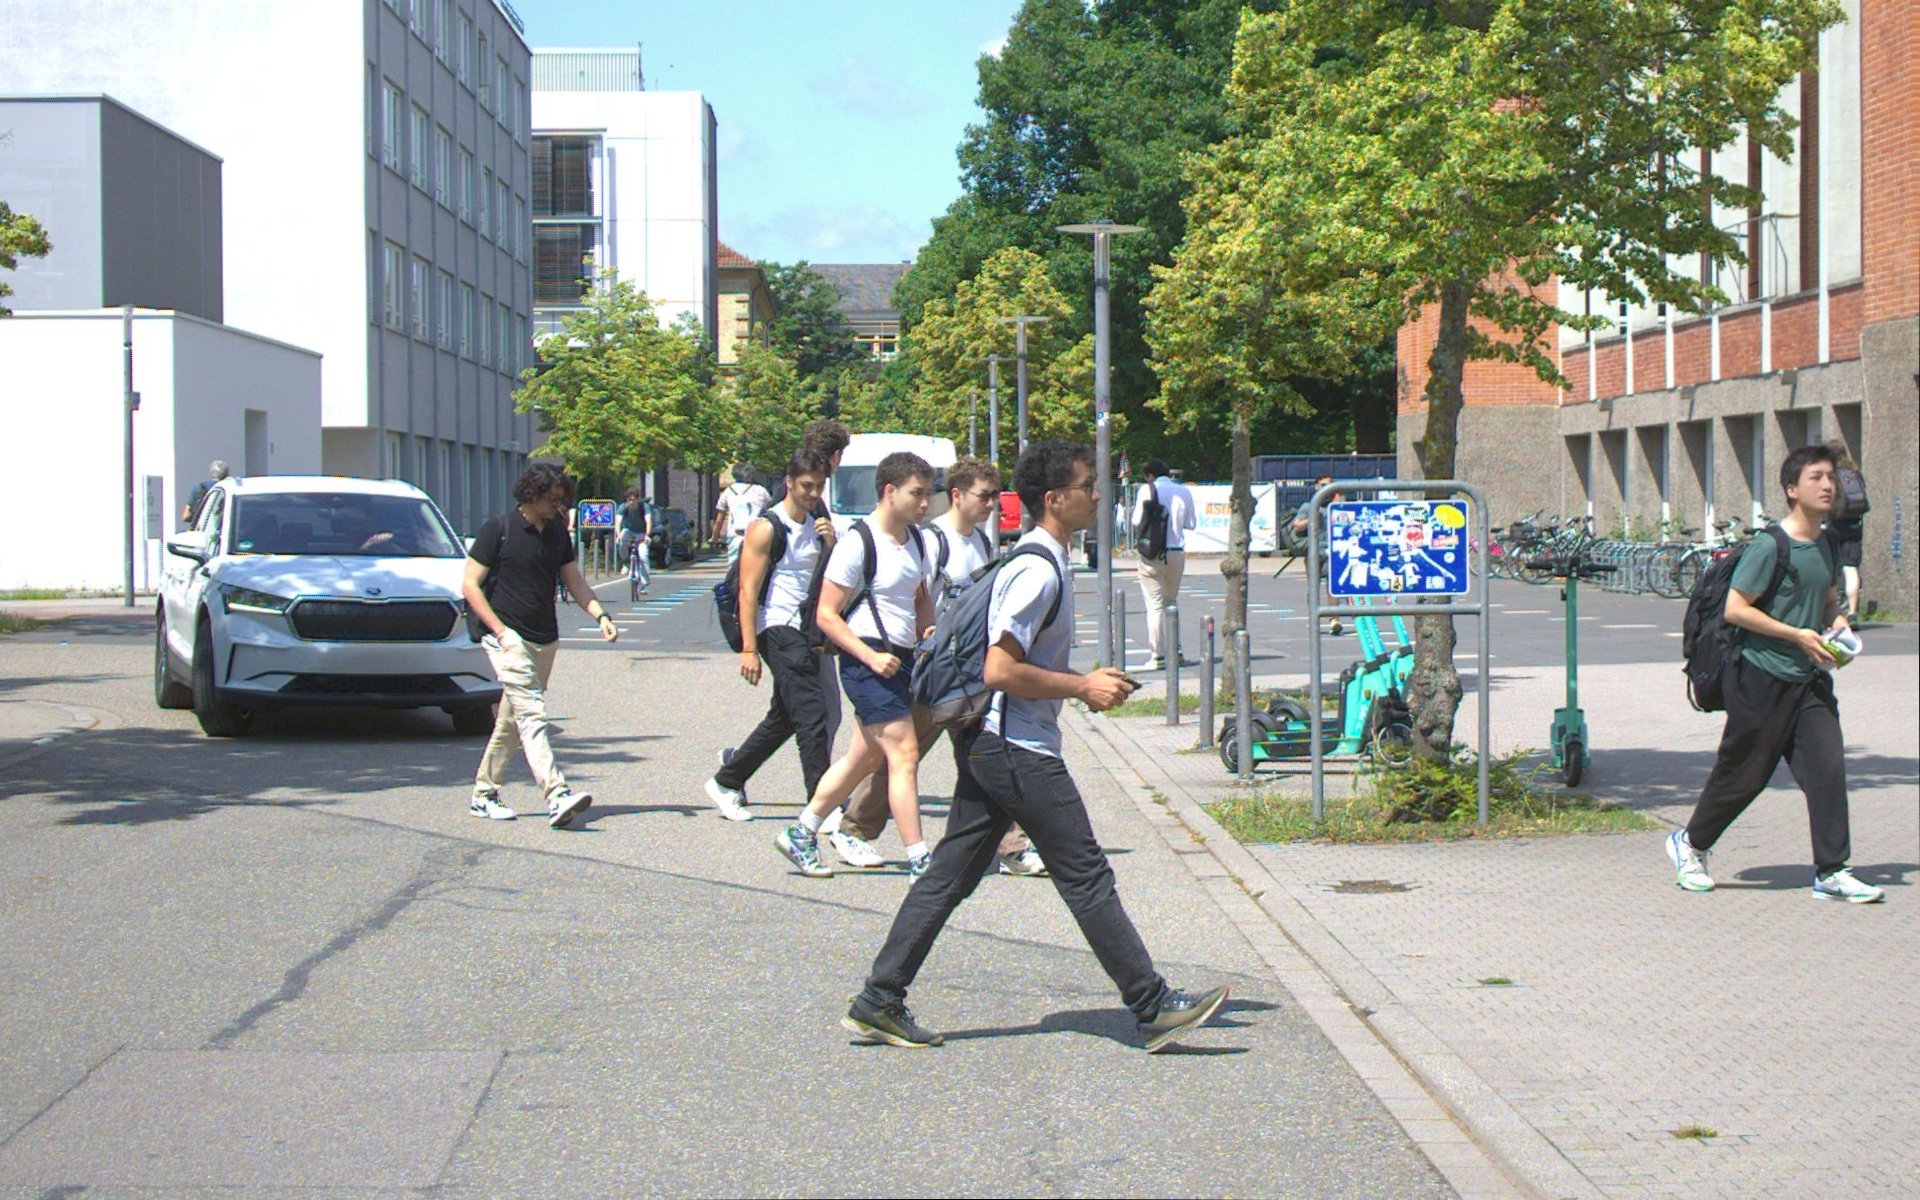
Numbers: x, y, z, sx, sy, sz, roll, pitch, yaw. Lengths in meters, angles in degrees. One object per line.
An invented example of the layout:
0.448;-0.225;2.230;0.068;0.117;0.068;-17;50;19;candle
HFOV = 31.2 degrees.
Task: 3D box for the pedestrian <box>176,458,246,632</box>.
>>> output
-7.790;-0.565;35.731;0.666;1.779;0.985;0;0;-14;pedestrian

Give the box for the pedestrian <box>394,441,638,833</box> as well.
-2.056;0.145;16.008;0.802;1.766;0.854;1;3;20;pedestrian

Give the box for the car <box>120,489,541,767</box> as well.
-4.266;0.125;22.696;1.917;1.613;4.522;2;1;-21;car

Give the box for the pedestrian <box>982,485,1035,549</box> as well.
1.588;-2.735;113.019;1.499;1.989;1.647;-4;3;-3;pedestrian

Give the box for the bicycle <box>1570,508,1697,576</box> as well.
10.369;-0.899;52.977;1.809;0.981;0.560;-2;2;-2;bicycle

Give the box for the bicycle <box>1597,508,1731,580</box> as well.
10.321;-0.818;50.430;1.809;0.981;0.560;-2;2;-2;bicycle

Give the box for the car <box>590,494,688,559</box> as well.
-7.786;-1.804;83.648;1.795;1.524;4.000;-1;2;3;car

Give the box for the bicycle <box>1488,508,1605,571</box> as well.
9.726;-1.006;57.037;1.809;0.981;0.560;-2;2;-2;bicycle

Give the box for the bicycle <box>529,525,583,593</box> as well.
-5.915;-0.609;50.371;0.677;0.961;2.003;0;2;-3;bicycle

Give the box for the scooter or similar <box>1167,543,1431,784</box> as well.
1.848;0.333;18.765;1.262;1.260;0.650;0;2;31;scooter or similar

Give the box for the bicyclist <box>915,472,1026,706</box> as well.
0.088;-0.091;25.193;0.717;1.656;1.095;-2;1;2;bicyclist

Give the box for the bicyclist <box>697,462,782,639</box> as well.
-2.234;-0.510;34.803;0.770;1.750;0.849;-1;2;-8;bicyclist

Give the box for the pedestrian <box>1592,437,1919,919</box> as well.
3.012;0.268;12.889;0.993;1.714;0.702;0;3;44;pedestrian

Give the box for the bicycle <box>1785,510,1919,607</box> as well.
10.082;-0.466;38.488;1.535;1.029;0.560;-2;2;-2;bicycle

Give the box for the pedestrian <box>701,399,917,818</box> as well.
-0.721;0.023;16.608;0.827;1.973;0.691;1;3;20;pedestrian

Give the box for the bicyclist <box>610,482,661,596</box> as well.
-4.900;-0.926;51.963;0.667;1.676;0.993;-2;2;-3;bicyclist

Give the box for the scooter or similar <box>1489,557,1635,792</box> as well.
3.164;0.370;18.006;0.649;1.156;1.264;-1;2;14;scooter or similar

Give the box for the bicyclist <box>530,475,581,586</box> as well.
-5.936;-1.027;50.455;0.643;1.596;0.909;-2;2;-3;bicyclist

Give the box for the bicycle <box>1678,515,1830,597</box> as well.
10.260;-0.570;44.450;1.809;0.981;0.560;-2;2;-2;bicycle

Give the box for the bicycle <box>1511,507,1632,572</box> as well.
9.872;-0.976;55.505;1.809;0.981;0.560;-2;2;-2;bicycle

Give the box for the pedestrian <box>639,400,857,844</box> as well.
-0.978;0.090;15.779;0.616;1.973;0.829;-2;0;-32;pedestrian

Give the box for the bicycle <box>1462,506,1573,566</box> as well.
9.782;-1.128;60.337;1.809;0.981;0.560;-2;2;-2;bicycle

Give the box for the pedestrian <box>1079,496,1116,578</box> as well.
3.158;-1.456;78.909;0.790;1.853;1.026;-1;2;0;pedestrian

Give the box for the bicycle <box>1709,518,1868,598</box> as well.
10.283;-0.523;42.687;1.809;0.908;0.560;-2;2;-2;bicycle

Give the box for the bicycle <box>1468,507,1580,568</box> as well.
9.734;-1.084;59.374;1.809;0.981;0.560;-2;2;-2;bicycle

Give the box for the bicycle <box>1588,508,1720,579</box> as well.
10.300;-0.845;51.025;1.809;0.981;0.560;-2;2;-2;bicycle

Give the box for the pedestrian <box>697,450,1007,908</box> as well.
-0.425;0.282;13.560;0.982;1.733;0.699;1;2;37;pedestrian

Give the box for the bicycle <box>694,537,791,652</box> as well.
-2.220;-0.073;34.834;0.808;0.998;2.125;-2;4;-7;bicycle

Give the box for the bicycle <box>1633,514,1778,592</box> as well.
10.056;-0.635;46.406;1.809;0.981;0.560;-2;2;-2;bicycle

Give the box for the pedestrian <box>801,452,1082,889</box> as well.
-0.075;0.274;14.171;0.908;1.733;0.677;1;0;37;pedestrian

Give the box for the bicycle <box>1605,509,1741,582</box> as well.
10.322;-0.791;49.789;1.809;0.981;0.560;-2;2;-2;bicycle

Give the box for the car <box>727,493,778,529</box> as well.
-9.017;-3.876;149.854;1.795;1.524;4.000;-1;2;3;car

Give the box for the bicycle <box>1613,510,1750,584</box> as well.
10.322;-0.767;49.202;1.809;0.981;0.560;-2;2;-2;bicycle

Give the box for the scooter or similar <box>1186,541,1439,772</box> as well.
2.002;0.305;19.541;1.262;1.260;0.650;0;2;31;scooter or similar

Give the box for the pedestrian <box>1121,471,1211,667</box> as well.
1.818;-0.286;30.404;0.702;1.689;0.962;-1;2;-1;pedestrian

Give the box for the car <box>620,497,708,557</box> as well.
-7.812;-1.947;91.062;1.795;1.524;4.000;-1;2;3;car

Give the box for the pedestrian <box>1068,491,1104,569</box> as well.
3.013;-1.682;82.153;0.790;1.853;1.026;-1;2;0;pedestrian

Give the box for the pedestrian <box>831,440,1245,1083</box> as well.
0.231;0.425;9.537;1.105;1.710;0.710;0;1;4;pedestrian

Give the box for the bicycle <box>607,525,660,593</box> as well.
-4.904;-0.608;51.763;0.677;0.961;2.003;1;-1;-3;bicycle

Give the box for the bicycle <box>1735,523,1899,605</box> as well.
10.284;-0.433;41.284;1.809;0.908;0.560;-2;2;-2;bicycle

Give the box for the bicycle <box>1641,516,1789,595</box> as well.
10.044;-0.596;45.772;1.809;0.981;0.560;-2;2;-2;bicycle

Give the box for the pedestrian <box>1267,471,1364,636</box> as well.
3.806;-0.504;36.853;0.853;1.726;1.160;-1;2;-2;pedestrian

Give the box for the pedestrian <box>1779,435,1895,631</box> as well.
8.512;-0.658;33.403;0.790;1.853;1.116;-1;2;-2;pedestrian

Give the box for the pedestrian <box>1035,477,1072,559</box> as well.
2.163;-1.894;79.355;0.790;1.853;1.243;-1;2;0;pedestrian

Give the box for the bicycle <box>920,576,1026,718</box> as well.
0.110;0.326;25.236;0.706;0.990;1.910;0;1;2;bicycle

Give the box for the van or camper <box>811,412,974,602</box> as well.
-0.876;-1.259;47.237;1.993;2.437;4.570;-1;1;1;van or camper

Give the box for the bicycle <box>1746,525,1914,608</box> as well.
10.228;-0.398;40.427;1.809;0.908;0.560;-2;2;-2;bicycle

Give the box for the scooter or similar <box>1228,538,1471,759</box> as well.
2.306;0.273;20.358;1.262;1.260;0.638;0;2;31;scooter or similar

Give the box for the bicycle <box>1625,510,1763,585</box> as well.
10.372;-0.747;48.601;1.809;0.981;0.560;-2;2;-2;bicycle
